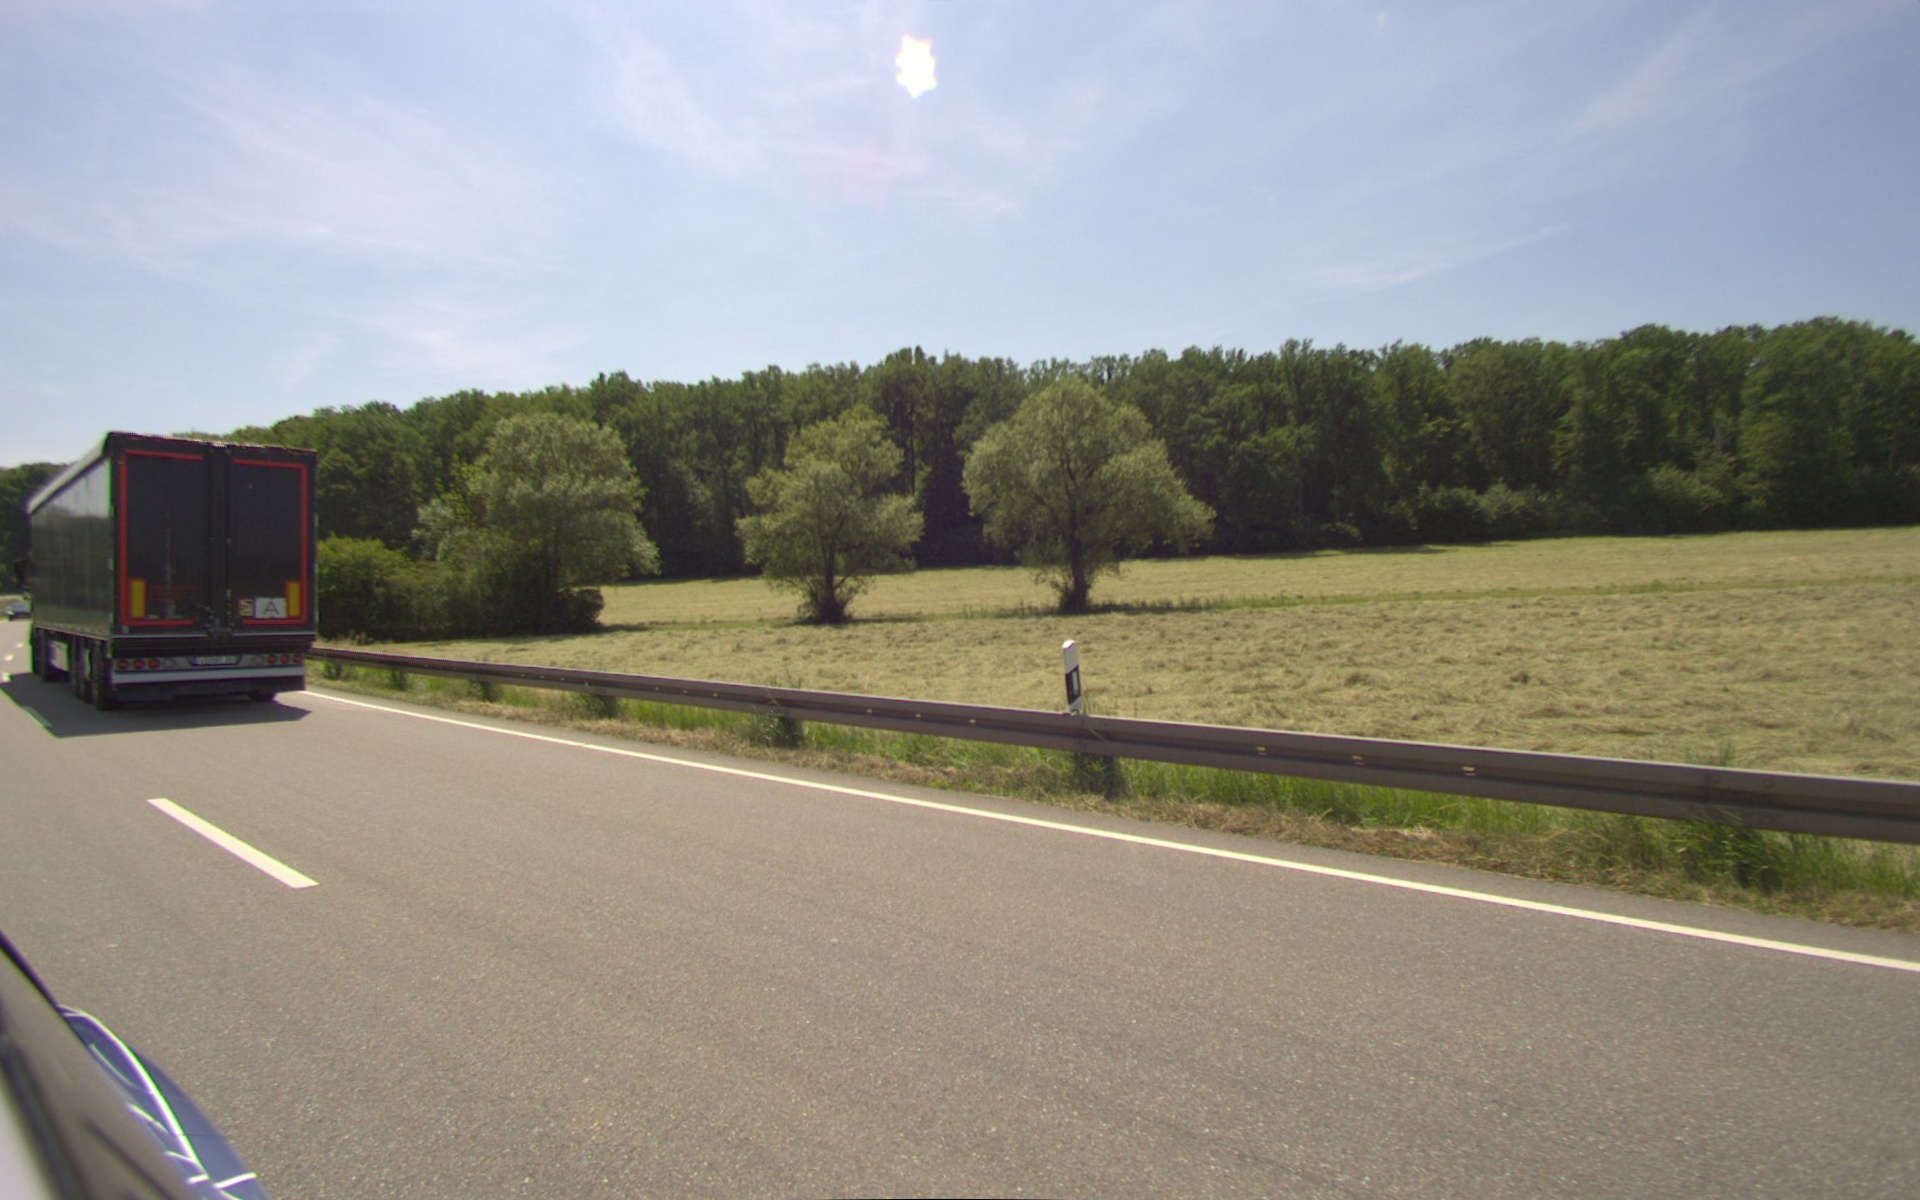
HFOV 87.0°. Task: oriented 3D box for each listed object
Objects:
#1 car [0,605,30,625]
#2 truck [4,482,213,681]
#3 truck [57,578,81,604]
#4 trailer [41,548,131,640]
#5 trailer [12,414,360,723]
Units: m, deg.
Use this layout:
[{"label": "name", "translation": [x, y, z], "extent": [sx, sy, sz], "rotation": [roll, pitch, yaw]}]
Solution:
[{"label": "car", "translation": [-74.381, 1.147, 79.614], "extent": [1.597, 1.447, 3.449], "rotation": [-2, 2, -40]}, {"label": "truck", "translation": [-20.927, -0.323, 24.741], "extent": [6.652, 4.181, 3.205], "rotation": [-1, -1, 43]}, {"label": "truck", "translation": [-160.920, -1.615, 182.746], "extent": [3.136, 4.552, 13.338], "rotation": [-2, 1, -42]}, {"label": "trailer", "translation": [-47.742, -0.281, 55.309], "extent": [3.332, 4.434, 13.766], "rotation": [-1, 0, -41]}, {"label": "trailer", "translation": [-15.811, -0.353, 19.821], "extent": [14.446, 4.181, 3.205], "rotation": [-1, -1, 44]}]
